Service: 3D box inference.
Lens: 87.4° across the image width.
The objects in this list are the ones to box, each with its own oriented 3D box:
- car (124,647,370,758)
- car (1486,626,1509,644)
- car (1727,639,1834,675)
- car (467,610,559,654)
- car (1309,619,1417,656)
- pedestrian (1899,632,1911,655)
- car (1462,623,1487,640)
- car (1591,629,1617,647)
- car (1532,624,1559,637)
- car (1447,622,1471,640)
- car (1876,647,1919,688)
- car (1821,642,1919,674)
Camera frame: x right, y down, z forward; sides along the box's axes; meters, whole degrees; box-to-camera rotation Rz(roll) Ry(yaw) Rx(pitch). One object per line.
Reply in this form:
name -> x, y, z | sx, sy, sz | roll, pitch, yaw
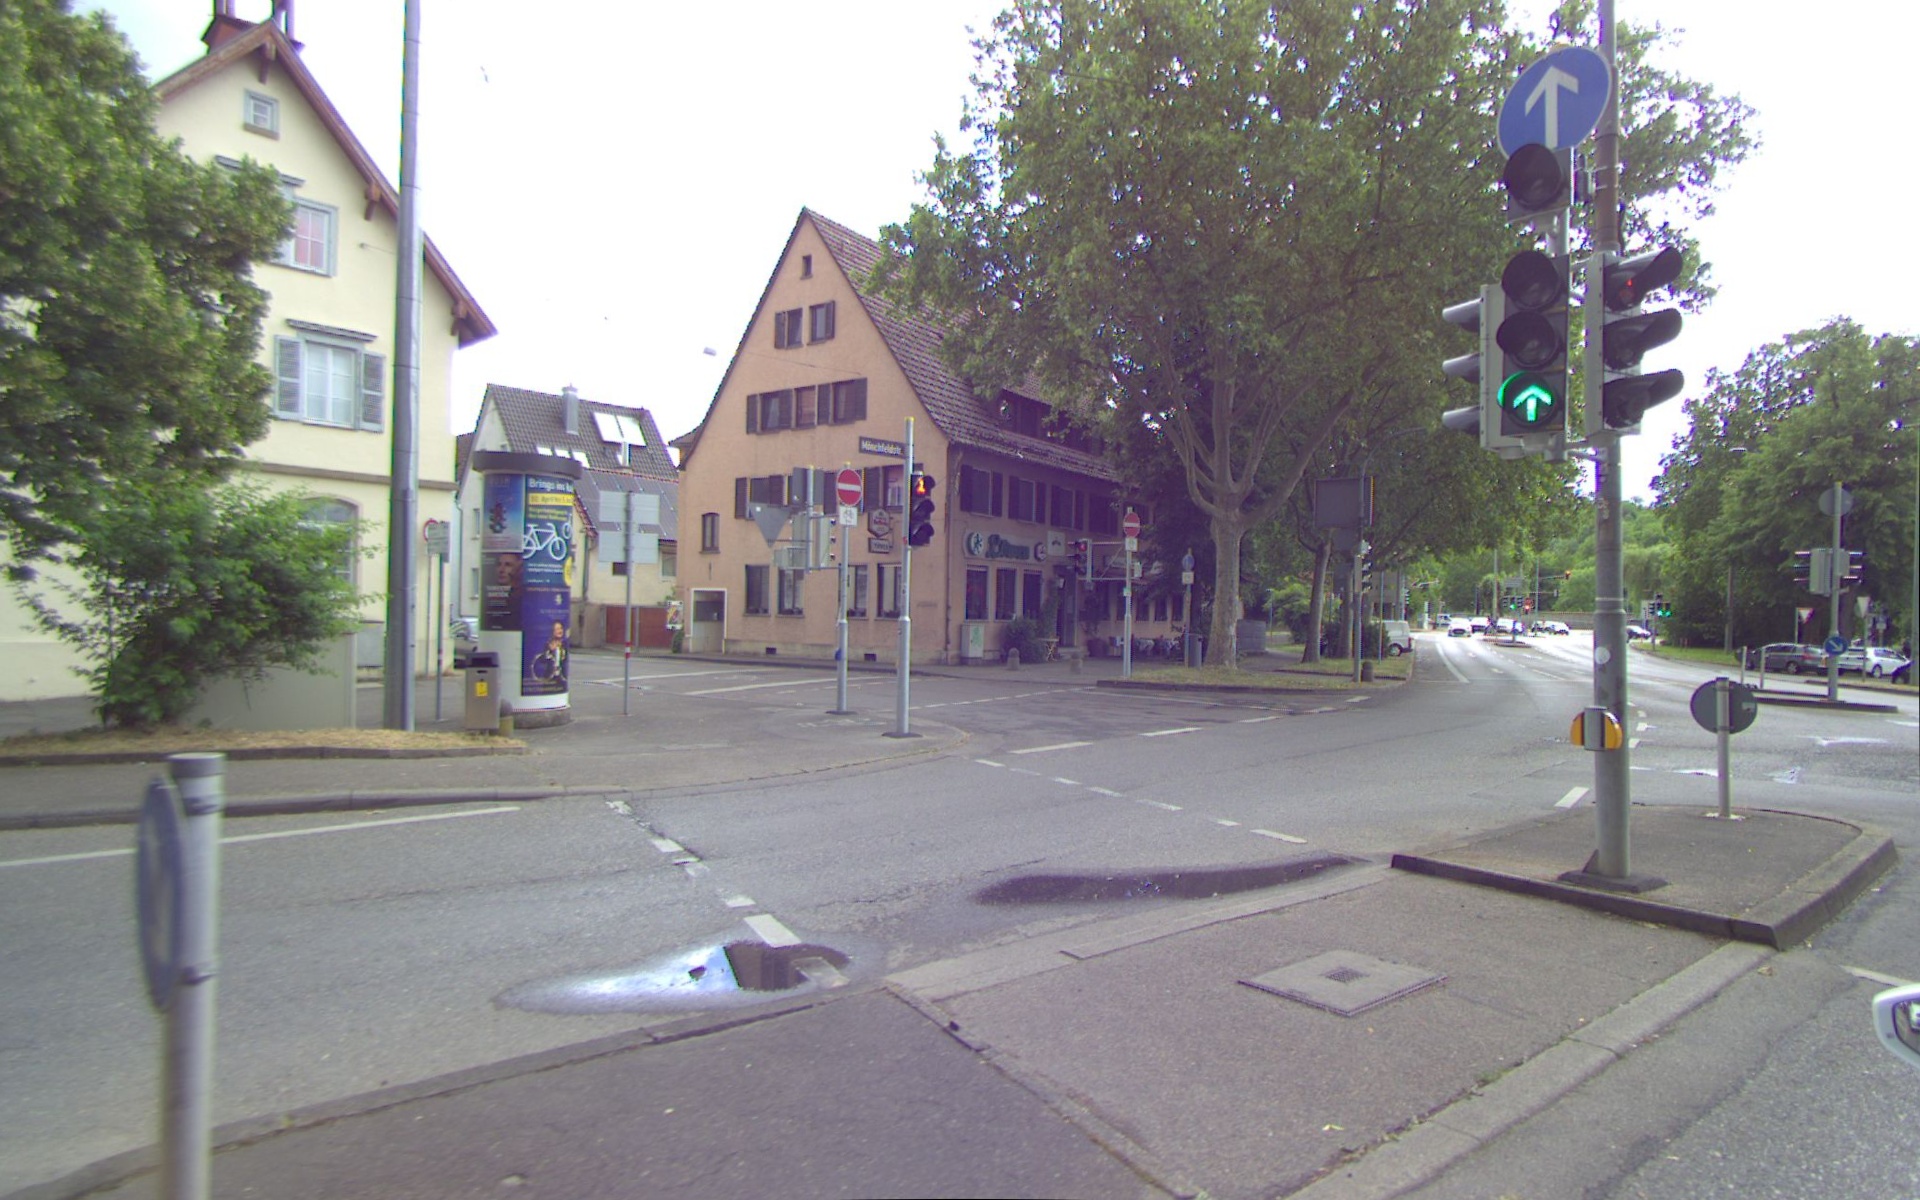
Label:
car -> -9.917, 1.345, 13.946 | 3.338, 1.327, 1.481 | -1, -2, 29
car -> 60.745, 3.932, 113.440 | 1.885, 1.787, 4.739 | 1, 0, 33
car -> 40.602, 2.778, 49.842 | 1.701, 1.448, 4.108 | 2, 1, -6
car -> -17.376, 1.217, 39.011 | 3.613, 1.534, 1.820 | 1, -1, 40
car -> 21.895, 2.056, 54.775 | 5.137, 1.957, 2.085 | -1, -1, 13
pedestrian -> 65.025, 2.963, 69.116 | 0.504, 1.552, 0.774 | 2, 0, 40
car -> 53.313, 3.286, 104.027 | 1.772, 1.608, 4.402 | -1, -1, 33
car -> 59.325, 3.508, 92.587 | 1.796, 1.529, 4.564 | 1, -1, 31
car -> 79.956, 4.118, 137.218 | 3.018, 1.258, 1.429 | 3, 14, 41
car -> 42.775, 2.638, 86.065 | 1.736, 1.485, 4.016 | 0, -2, 28
car -> 35.775, 2.533, 36.642 | 1.542, 1.423, 3.495 | 1, 0, 1
car -> 44.389, 2.813, 48.892 | 4.192, 1.399, 1.759 | 2, 0, -16
